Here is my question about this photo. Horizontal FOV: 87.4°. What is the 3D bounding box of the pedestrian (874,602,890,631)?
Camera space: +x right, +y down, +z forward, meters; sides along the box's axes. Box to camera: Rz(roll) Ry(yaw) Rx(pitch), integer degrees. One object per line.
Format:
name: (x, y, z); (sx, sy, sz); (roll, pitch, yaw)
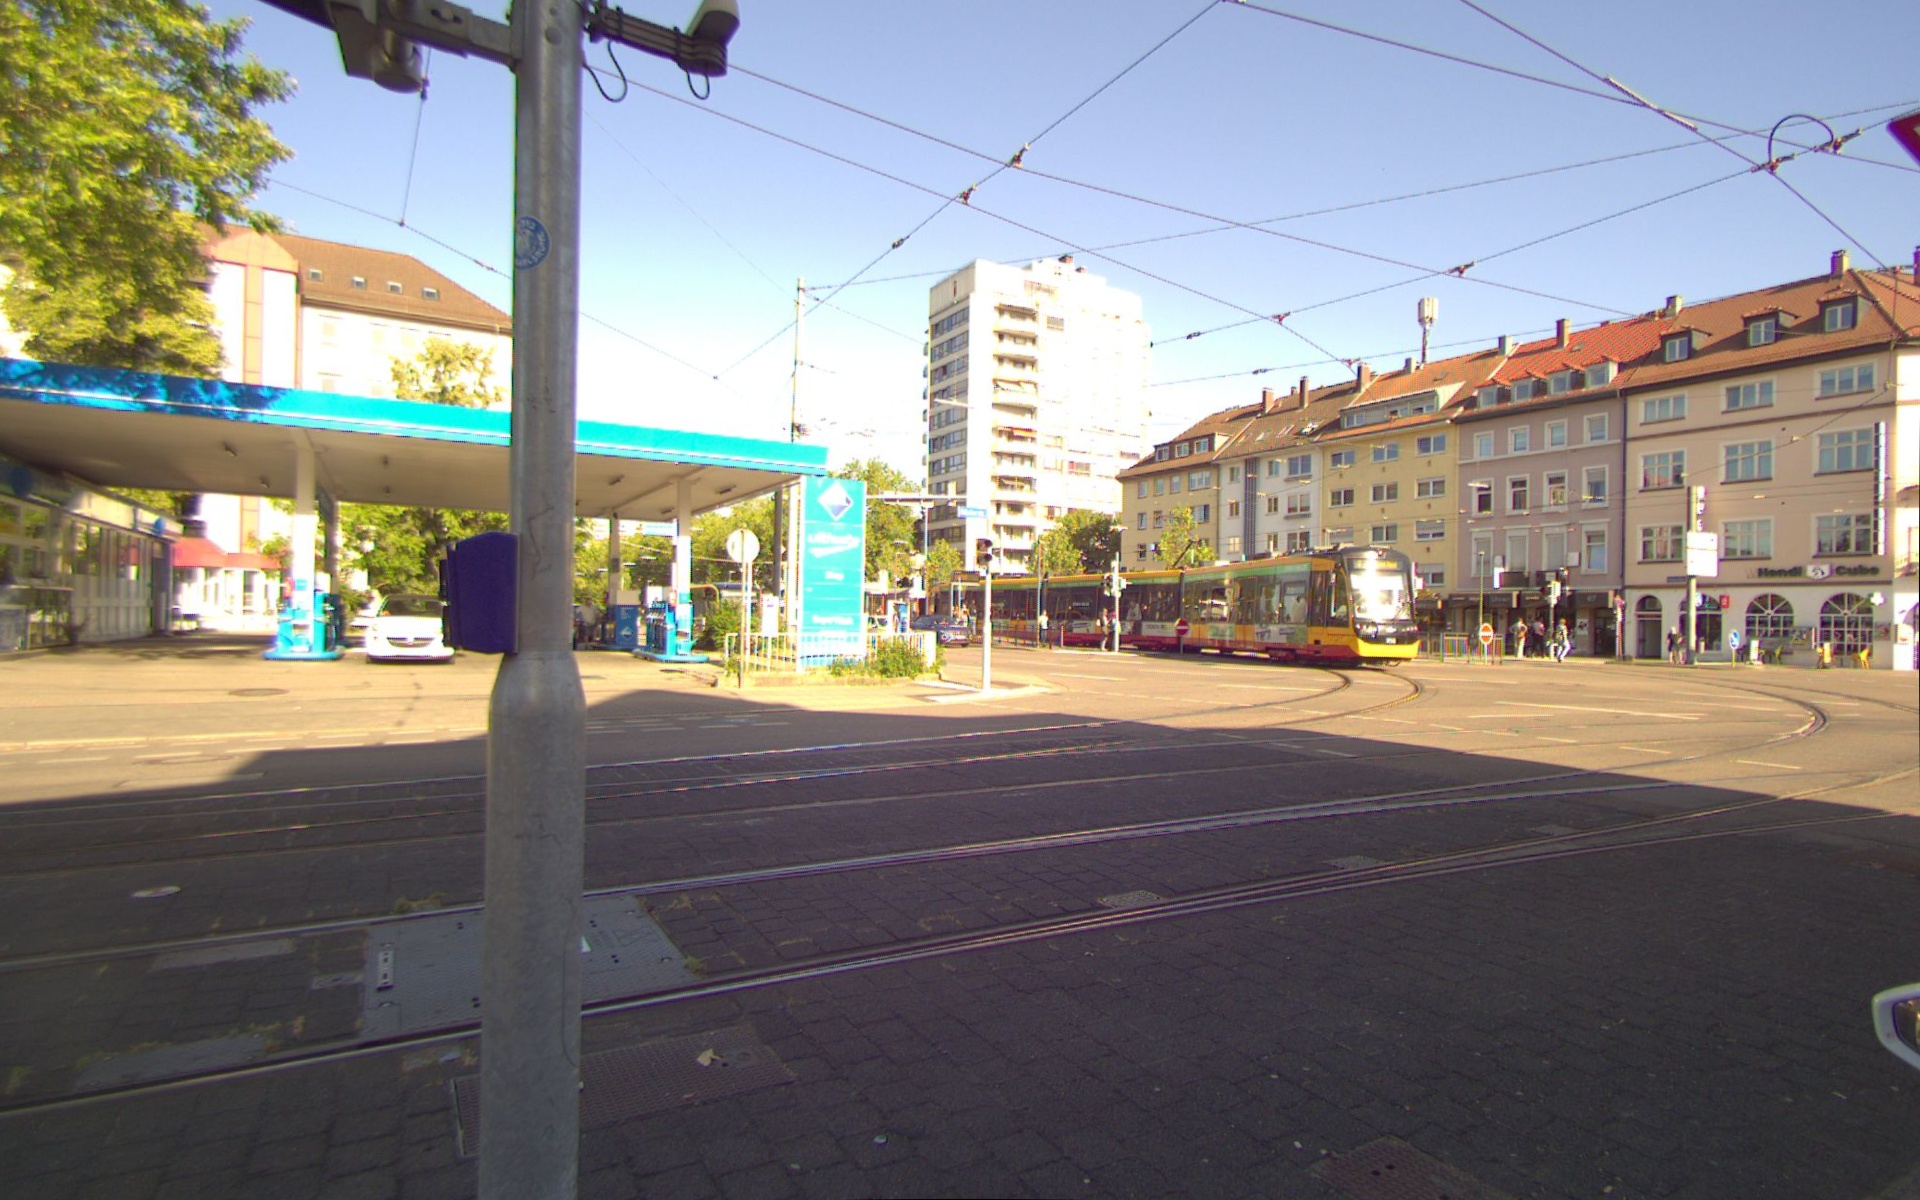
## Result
pedestrian: (-4.823, 1.001, 62.171); (0.747, 1.756, 0.797); (0, 0, -28)

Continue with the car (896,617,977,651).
car: (-1.165, 1.611, 48.368); (1.875, 1.550, 3.955); (1, -2, -39)

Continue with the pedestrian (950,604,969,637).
pedestrian: (-0.003, 1.112, 54.077); (0.747, 1.756, 0.797); (0, 0, -28)

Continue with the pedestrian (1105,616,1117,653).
pedestrian: (6.148, 1.401, 40.966); (0.472, 1.525, 0.462); (0, 0, 6)

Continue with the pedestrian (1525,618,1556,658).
pedestrian: (24.063, 1.565, 41.655); (0.821, 1.598, 0.724); (2, 0, -20)

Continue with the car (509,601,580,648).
car: (-13.554, 0.779, 32.678); (1.737, 1.461, 3.543); (1, -1, -29)

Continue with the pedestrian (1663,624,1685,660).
pedestrian: (34.093, 2.024, 47.969); (0.743, 1.692, 0.579); (2, 0, -30)

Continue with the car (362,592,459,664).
car: (-12.204, 0.601, 22.352); (1.737, 1.461, 3.543); (1, -1, -29)

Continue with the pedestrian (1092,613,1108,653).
pedestrian: (5.850, 1.388, 41.965); (0.626, 1.666, 0.462); (0, 0, 6)

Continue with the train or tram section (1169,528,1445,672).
train or tram section: (10.795, 0.099, 33.670); (2.888, 3.864, 13.033); (1, -1, -9)

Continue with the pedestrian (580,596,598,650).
pedestrian: (-12.094, 0.743, 32.749); (0.492, 1.724, 0.498); (1, -1, -20)

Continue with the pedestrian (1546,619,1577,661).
pedestrian: (23.214, 1.531, 38.792); (0.817, 1.598, 0.552); (2, 0, -2)

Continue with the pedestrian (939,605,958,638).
pedestrian: (-0.637, 1.124, 53.853); (0.747, 1.756, 0.797); (0, 0, -28)

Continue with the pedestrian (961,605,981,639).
pedestrian: (0.566, 1.123, 51.907); (0.747, 1.756, 0.797); (0, 0, -28)

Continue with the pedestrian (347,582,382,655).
pedestrian: (-14.304, 0.442, 24.141); (0.640, 1.724, 0.497); (1, -1, -26)

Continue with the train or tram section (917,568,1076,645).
train or tram section: (1.674, 0.395, 56.170); (2.907, 3.864, 12.023); (1, -1, -30)

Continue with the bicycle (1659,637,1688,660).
bicycle: (34.056, 2.317, 47.955); (1.479, 1.091, 0.570); (2, 0, -30)

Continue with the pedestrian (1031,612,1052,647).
pedestrian: (3.732, 1.330, 45.872); (0.607, 1.598, 0.827); (0, 0, -27)

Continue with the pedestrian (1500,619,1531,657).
pedestrian: (24.413, 1.666, 44.151); (0.821, 1.598, 0.847); (2, 0, -20)

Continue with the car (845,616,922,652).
car: (-3.592, 1.547, 46.738); (1.871, 1.550, 3.963); (1, -1, -33)

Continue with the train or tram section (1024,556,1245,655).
train or tram section: (7.359, 0.285, 45.468); (2.903, 3.864, 12.735); (1, -1, -26)

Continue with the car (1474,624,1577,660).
car: (30.821, 2.287, 54.843); (2.277, 1.734, 4.350); (2, 0, -27)

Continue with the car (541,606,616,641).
car: (-16.866, 1.036, 44.603); (1.722, 1.461, 3.572); (1, -1, 5)
